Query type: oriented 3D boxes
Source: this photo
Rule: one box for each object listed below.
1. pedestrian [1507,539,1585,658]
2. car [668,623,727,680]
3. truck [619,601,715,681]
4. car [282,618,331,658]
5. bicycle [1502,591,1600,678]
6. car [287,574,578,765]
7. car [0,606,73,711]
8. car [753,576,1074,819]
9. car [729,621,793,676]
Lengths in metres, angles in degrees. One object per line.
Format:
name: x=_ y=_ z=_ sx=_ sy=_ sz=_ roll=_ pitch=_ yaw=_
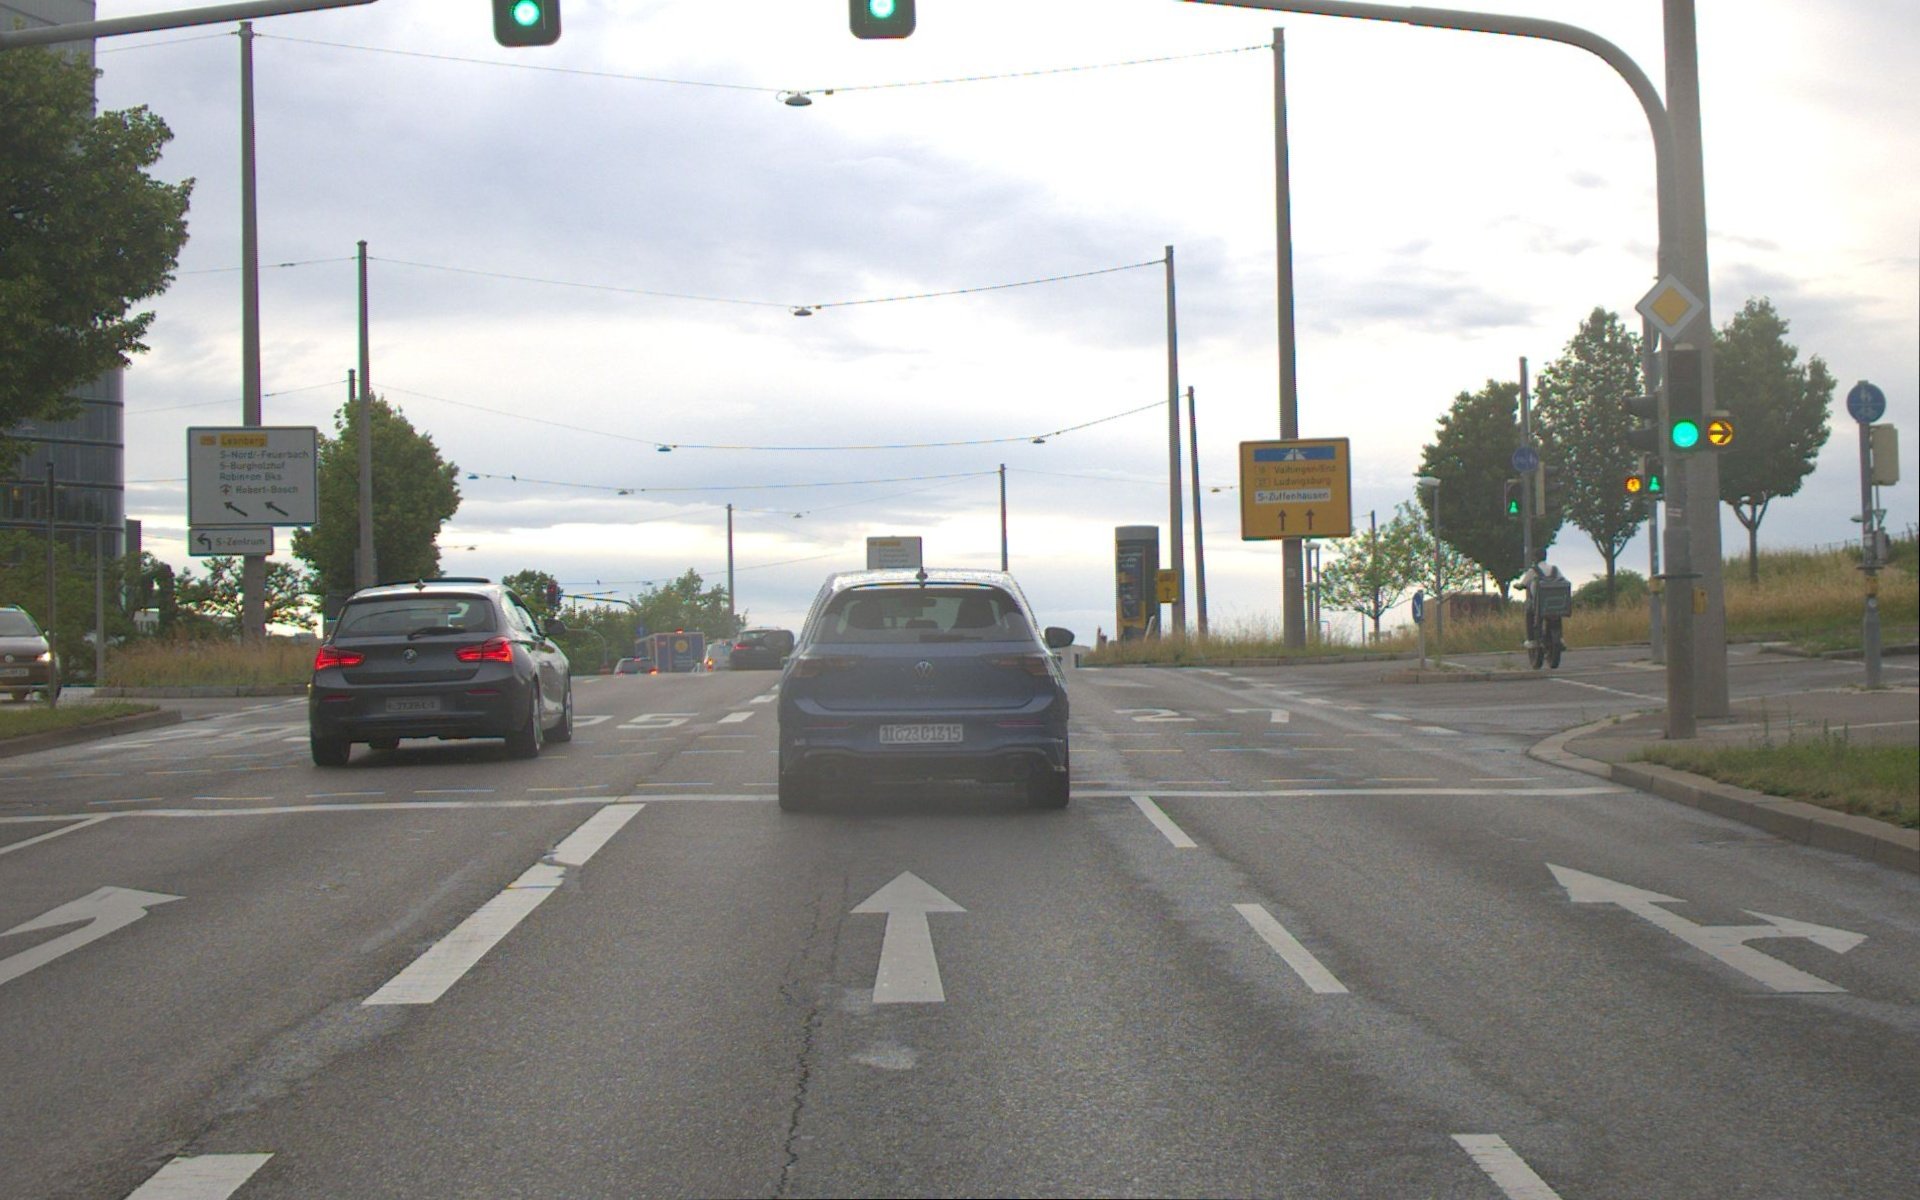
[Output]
pedestrian: x=7.984 y=-0.021 z=46.848 sx=0.632 sy=1.565 sz=0.896 roll=-5 pitch=1 yaw=-11
car: x=-10.159 y=2.019 z=132.675 sx=1.904 sy=1.966 sz=5.092 roll=-1 pitch=-3 yaw=-8
truck: x=-12.735 y=1.807 z=148.978 sx=2.665 sy=3.209 sz=6.549 roll=1 pitch=-3 yaw=-18
car: x=-28.788 y=1.696 z=151.390 sx=1.892 sy=1.653 sz=4.606 roll=0 pitch=-2 yaw=-14
bicycle: x=8.029 y=0.455 z=46.773 sx=0.632 sy=1.101 sz=1.754 roll=-5 pitch=1 yaw=-12
car: x=-4.262 y=0.533 z=28.320 sx=1.869 sy=1.456 sz=3.976 roll=0 pitch=0 yaw=-1
car: x=-14.627 y=0.879 z=51.735 sx=1.889 sy=1.502 sz=4.001 roll=-1 pitch=0 yaw=-23
car: x=-0.267 y=0.556 z=21.807 sx=1.838 sy=1.389 sz=4.000 roll=-1 pitch=0 yaw=0
car: x=-5.889 y=1.419 z=102.168 sx=1.722 sy=1.536 sz=3.703 roll=2 pitch=0 yaw=-1
